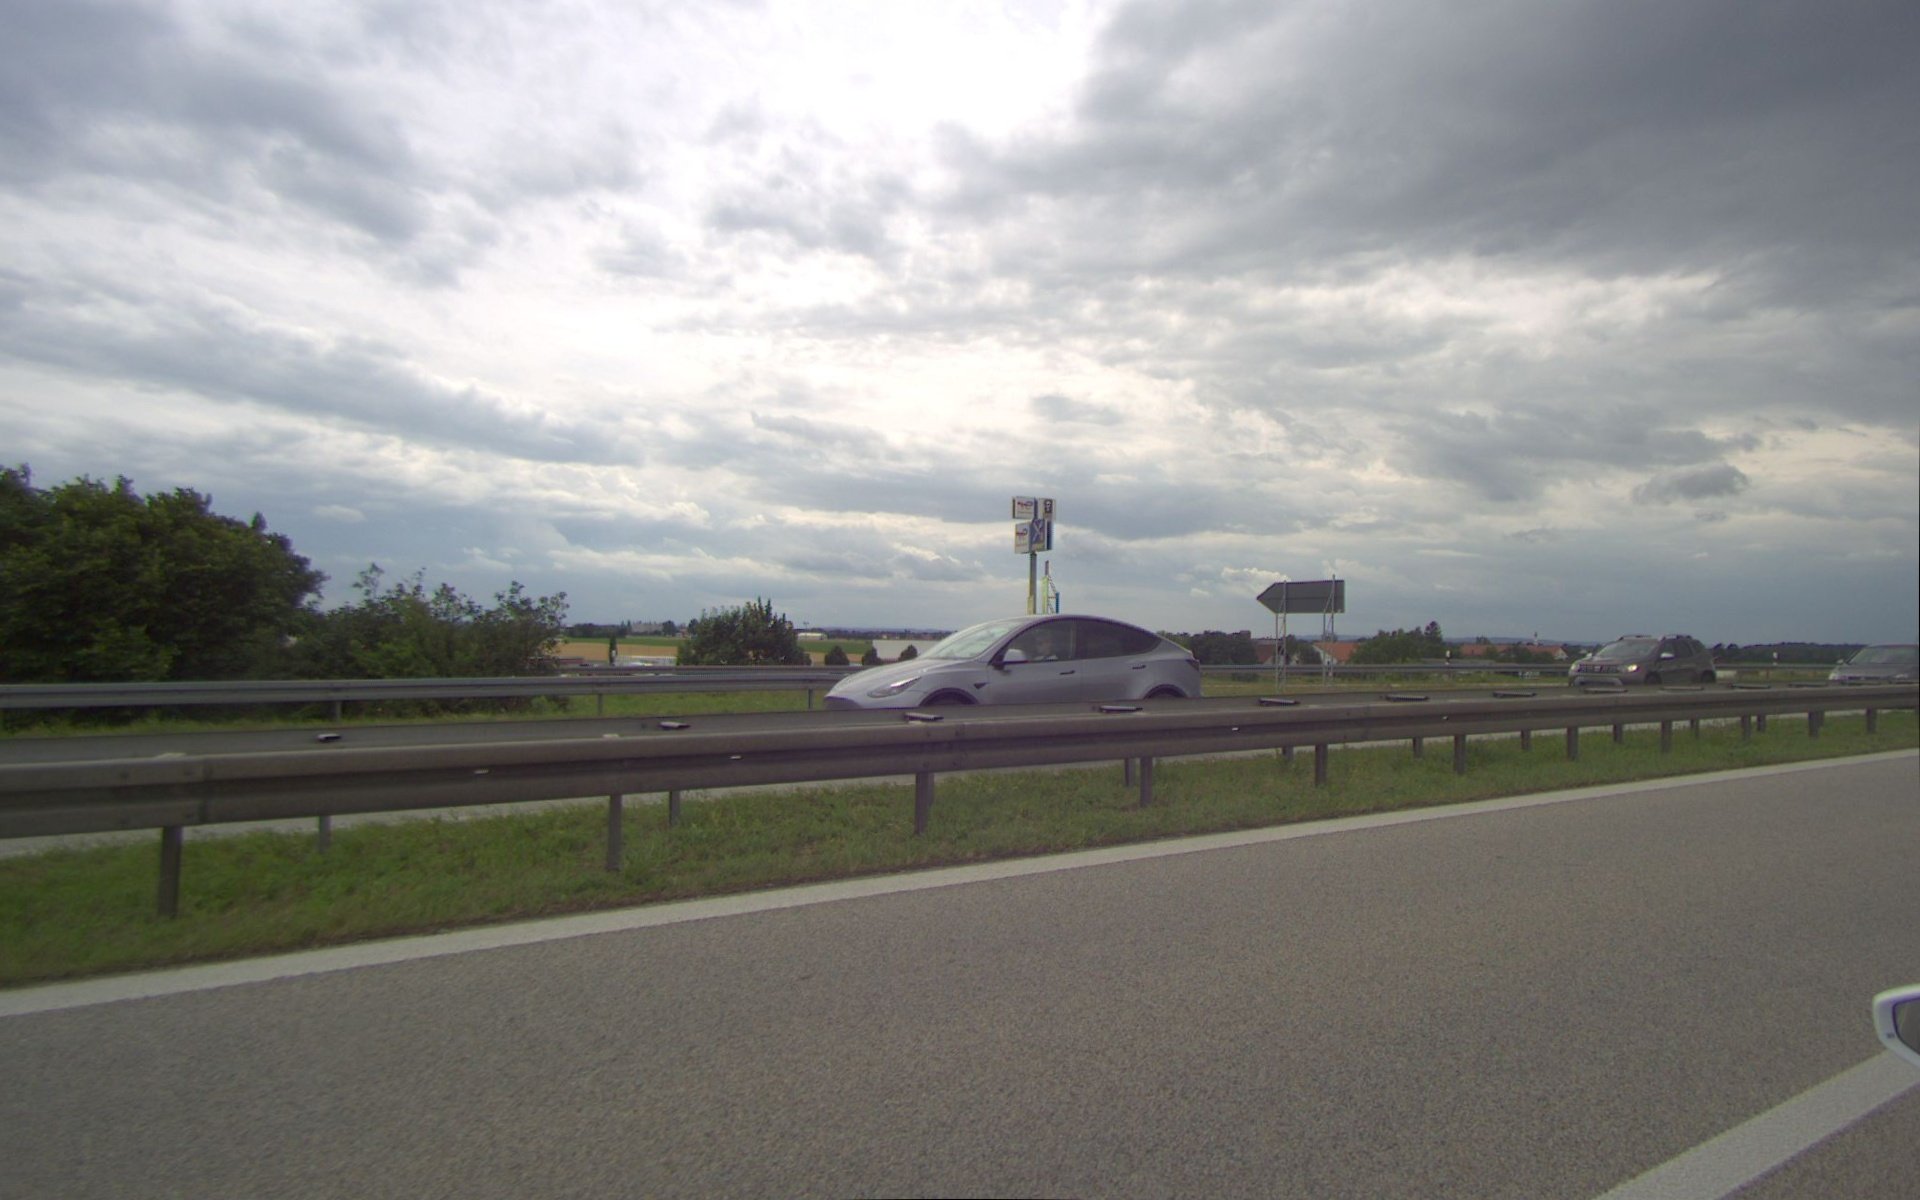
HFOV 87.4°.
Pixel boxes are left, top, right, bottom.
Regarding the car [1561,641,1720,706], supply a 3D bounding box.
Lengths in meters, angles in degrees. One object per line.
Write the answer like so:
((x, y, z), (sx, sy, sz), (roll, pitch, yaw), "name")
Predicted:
((17.118, 1.800, 25.234), (3.953, 1.412, 1.791), (1, 0, -30), "car")

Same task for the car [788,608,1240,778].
((0.711, 0.966, 11.691), (4.942, 1.609, 2.125), (2, -2, -31), "car")

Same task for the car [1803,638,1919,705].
((21.240, 1.579, 22.952), (3.953, 1.411, 1.791), (1, -2, -30), "car")
